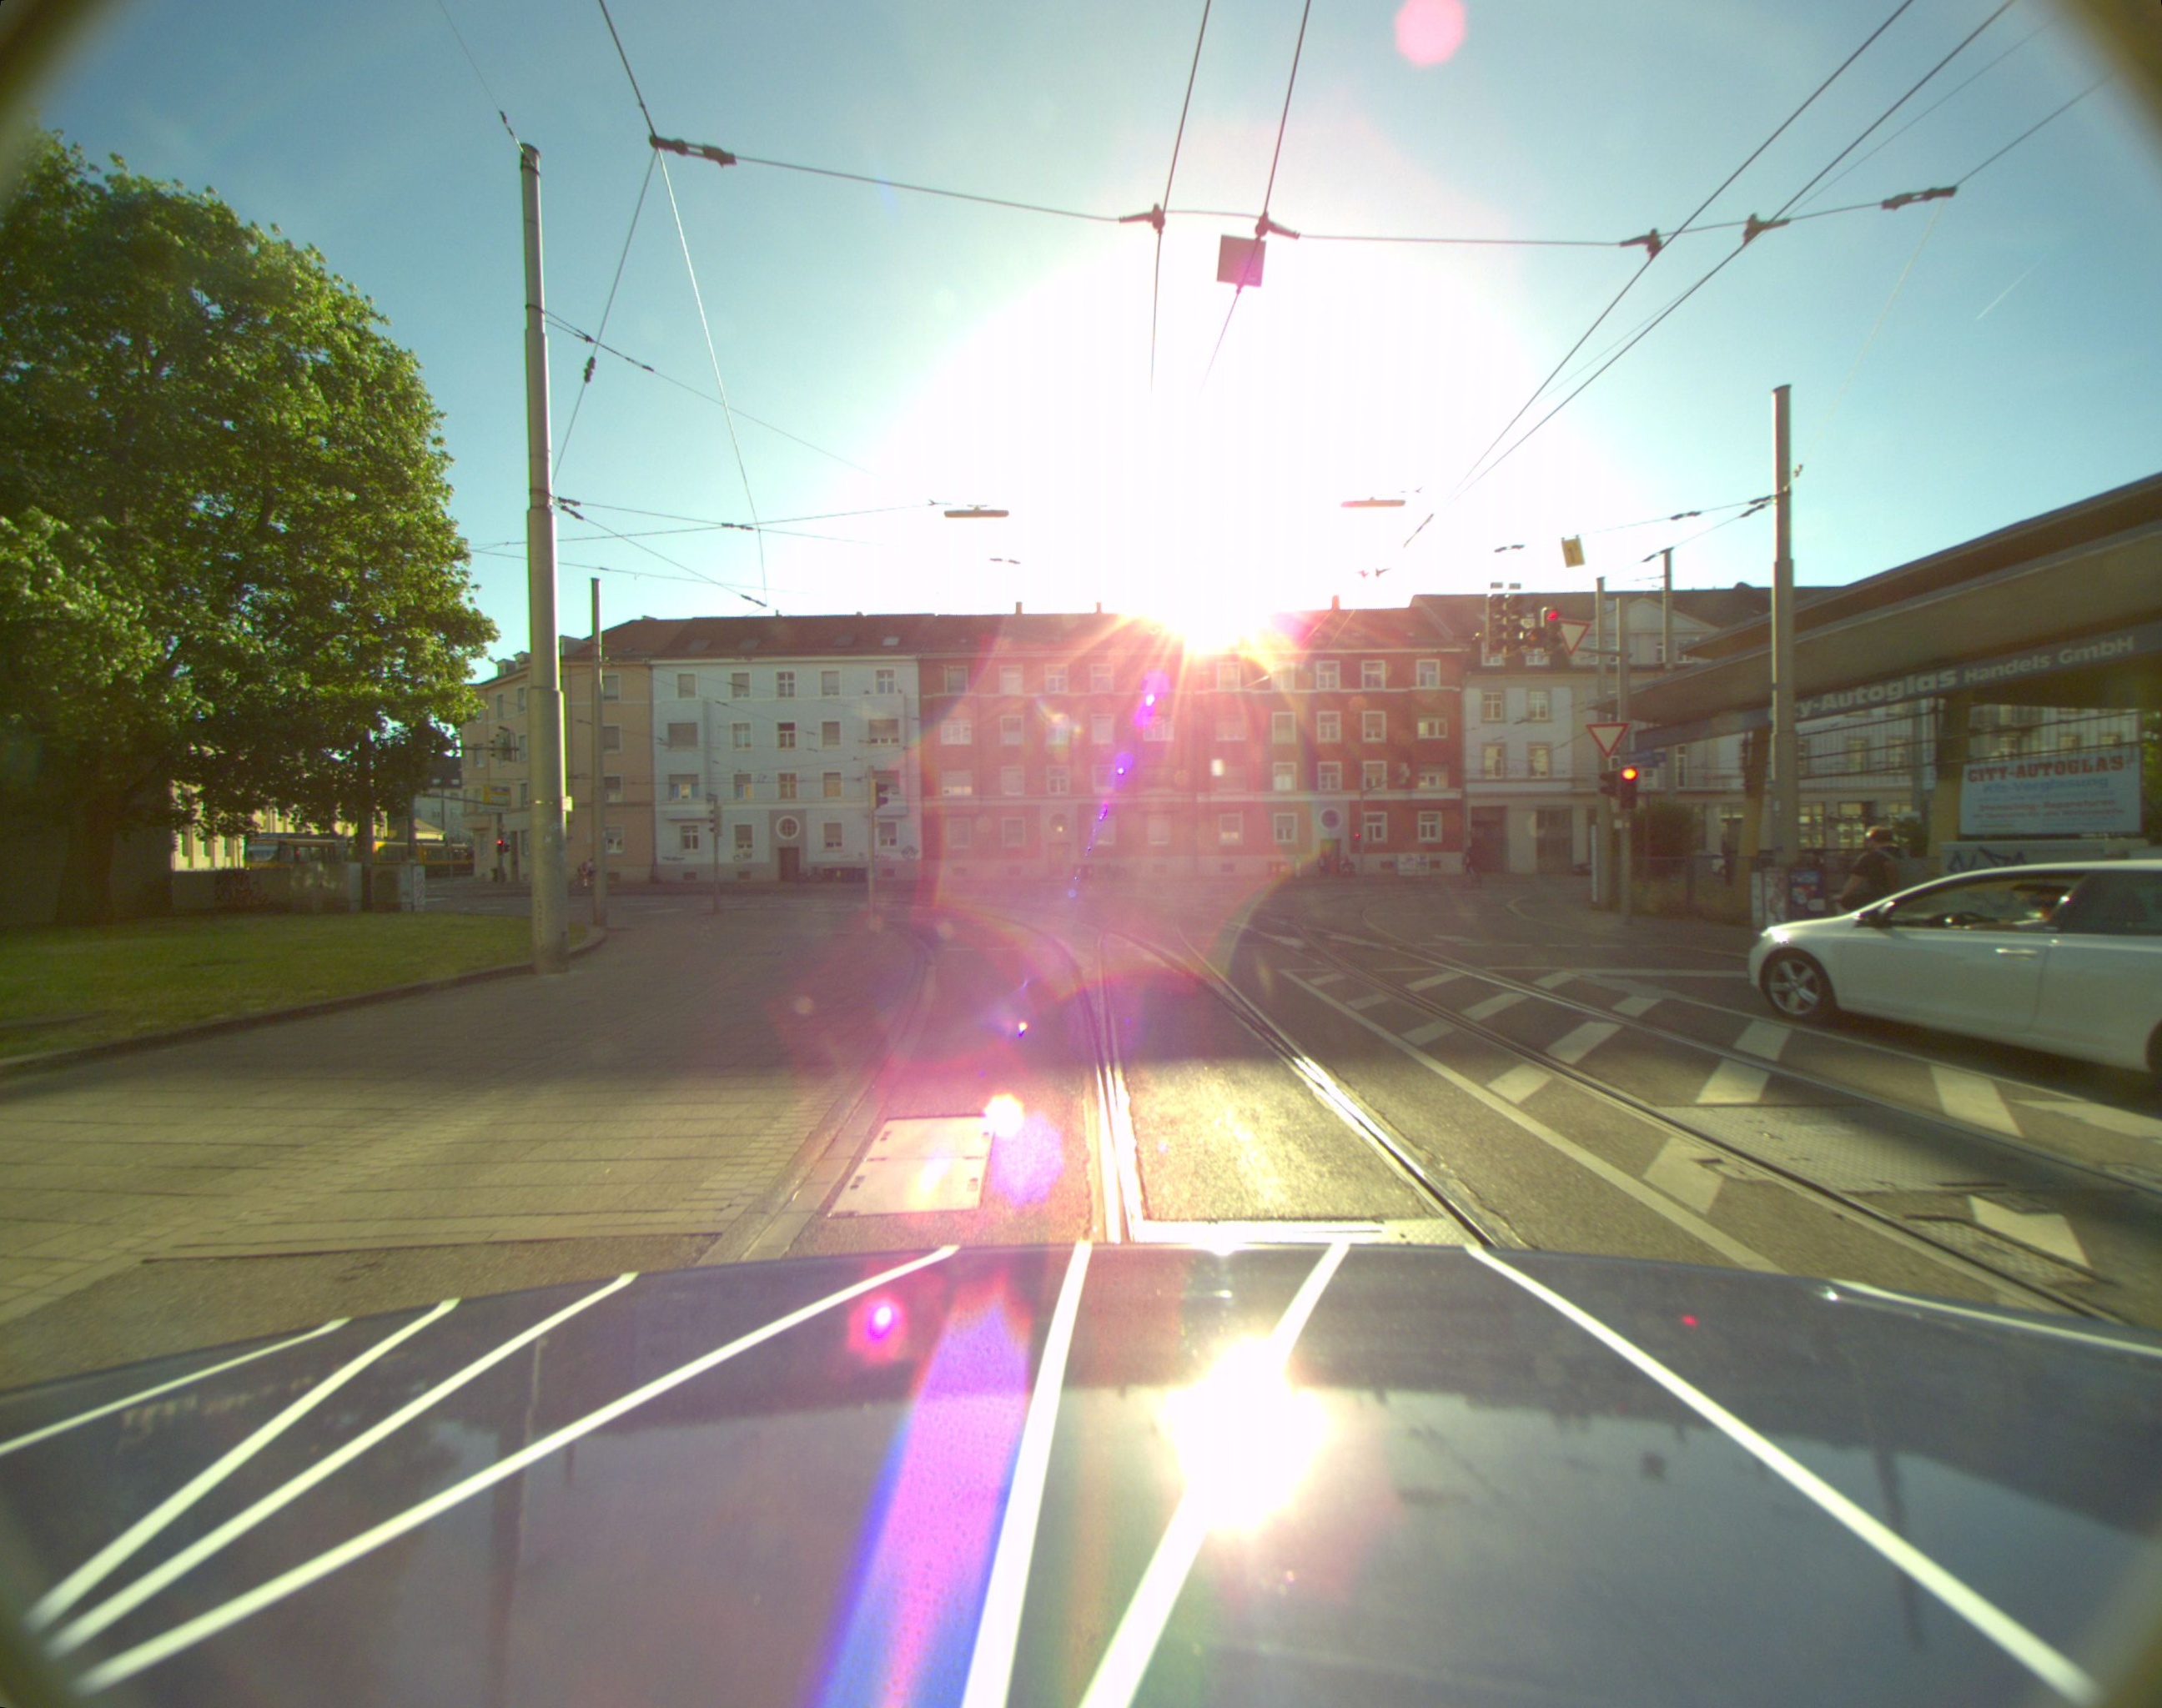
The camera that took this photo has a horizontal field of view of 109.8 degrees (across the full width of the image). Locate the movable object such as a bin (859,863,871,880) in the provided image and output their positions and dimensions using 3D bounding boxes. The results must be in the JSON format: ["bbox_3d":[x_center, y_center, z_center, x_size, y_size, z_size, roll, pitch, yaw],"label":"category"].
[{"bbox_3d":[-14.222,1.144,50.093,0.582,1.100,0.704,0,1,0],"label":"movable object such as a bin"}]

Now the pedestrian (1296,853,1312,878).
[{"bbox_3d":[14.609,0.732,49.694,0.655,1.624,0.794,-1,1,-21],"label":"pedestrian"}]

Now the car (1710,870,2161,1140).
[{"bbox_3d":[7.005,0.891,5.308,1.795,1.449,4.190,1,0,1],"label":"car"}]

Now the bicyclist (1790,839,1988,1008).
[{"bbox_3d":[9.133,0.733,8.658,0.911,1.776,1.253,0,0,-4],"label":"bicyclist"}]

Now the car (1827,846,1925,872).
[{"bbox_3d":[49.897,0.300,47.738,4.271,1.543,1.841,-1,0,0],"label":"car"}]

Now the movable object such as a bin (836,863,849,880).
[{"bbox_3d":[-15.739,1.178,50.175,0.582,1.100,0.704,0,1,0],"label":"movable object such as a bin"}]

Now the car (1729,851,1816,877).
[{"bbox_3d":[43.130,0.588,47.455,3.853,1.543,1.725,-1,0,0],"label":"car"}]

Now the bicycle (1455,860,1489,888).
[{"bbox_3d":[16.325,0.808,31.785,0.894,1.119,2.068,0,0,16],"label":"bicycle"}]

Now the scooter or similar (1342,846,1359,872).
[{"bbox_3d":[17.513,0.320,49.382,0.797,1.624,0.653,-1,1,-32],"label":"scooter or similar"}]

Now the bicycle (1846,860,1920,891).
[{"bbox_3d":[28.837,0.755,27.335,1.870,1.080,0.773,-1,1,-1],"label":"bicycle"}]

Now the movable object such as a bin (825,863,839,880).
[{"bbox_3d":[-16.426,1.128,50.159,0.648,1.100,0.704,0,1,0],"label":"movable object such as a bin"}]

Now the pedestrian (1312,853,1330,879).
[{"bbox_3d":[15.705,0.781,49.737,0.797,1.624,0.829,-1,1,-38],"label":"pedestrian"}]

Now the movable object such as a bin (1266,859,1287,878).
[{"bbox_3d":[12.915,0.966,50.152,1.232,1.242,0.874,-1,0,6],"label":"movable object such as a bin"}]

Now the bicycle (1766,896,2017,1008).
[{"bbox_3d":[9.127,1.051,8.718,0.727,1.011,2.048,0,0,1],"label":"bicycle"}]

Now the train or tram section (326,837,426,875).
[{"bbox_3d":[-66.777,0.111,72.319,3.169,3.337,10.659,-1,1,-21],"label":"train or tram section"}]

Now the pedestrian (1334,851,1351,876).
[{"bbox_3d":[17.186,0.598,49.935,0.797,1.624,0.653,-1,1,-32],"label":"pedestrian"}]

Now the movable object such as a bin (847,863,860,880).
[{"bbox_3d":[-15.017,1.172,50.148,0.582,1.100,0.704,0,1,0],"label":"movable object such as a bin"}]

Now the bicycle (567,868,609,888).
[{"bbox_3d":[-31.098,1.514,47.906,2.150,1.184,0.749,0,0,0],"label":"bicycle"}]

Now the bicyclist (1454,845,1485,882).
[{"bbox_3d":[16.281,0.395,31.849,0.878,1.517,1.052,0,0,11],"label":"bicyclist"}]

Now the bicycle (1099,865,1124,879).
[{"bbox_3d":[2.010,1.177,50.198,1.602,0.885,0.335,0,1,4],"label":"bicycle"}]

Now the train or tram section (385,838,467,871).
[{"bbox_3d":[-70.663,-0.066,82.336,3.169,3.337,10.828,-1,1,-21],"label":"train or tram section"}]

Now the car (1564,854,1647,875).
[{"bbox_3d":[32.599,0.620,47.268,3.997,1.225,1.725,-1,0,0],"label":"car"}]

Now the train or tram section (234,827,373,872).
[{"bbox_3d":[-62.757,-0.349,61.869,3.171,3.302,11.796,-1,1,-21],"label":"train or tram section"}]

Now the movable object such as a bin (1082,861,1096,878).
[{"bbox_3d":[0.534,1.017,50.028,0.811,1.034,0.845,-1,0,-4],"label":"movable object such as a bin"}]

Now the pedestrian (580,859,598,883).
[{"bbox_3d":[-32.306,1.140,49.898,0.719,1.554,0.677,-1,1,1],"label":"pedestrian"}]

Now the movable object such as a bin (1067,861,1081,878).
[{"bbox_3d":[-0.468,1.013,49.988,0.811,1.034,0.845,-1,0,-4],"label":"movable object such as a bin"}]

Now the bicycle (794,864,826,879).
[{"bbox_3d":[-17.894,1.166,50.170,1.875,0.974,0.607,0,2,0],"label":"bicycle"}]

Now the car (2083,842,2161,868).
[{"bbox_3d":[66.056,0.039,47.695,3.997,1.543,1.725,-1,0,0],"label":"car"}]

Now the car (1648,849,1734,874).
[{"bbox_3d":[38.181,0.461,47.646,3.997,1.443,1.725,-1,0,0],"label":"car"}]

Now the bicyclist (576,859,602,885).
[{"bbox_3d":[-31.049,1.143,47.912,1.125,1.633,0.749,0,1,0],"label":"bicyclist"}]

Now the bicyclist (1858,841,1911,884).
[{"bbox_3d":[28.868,0.308,27.323,0.992,1.516,0.837,0,1,8],"label":"bicyclist"}]
